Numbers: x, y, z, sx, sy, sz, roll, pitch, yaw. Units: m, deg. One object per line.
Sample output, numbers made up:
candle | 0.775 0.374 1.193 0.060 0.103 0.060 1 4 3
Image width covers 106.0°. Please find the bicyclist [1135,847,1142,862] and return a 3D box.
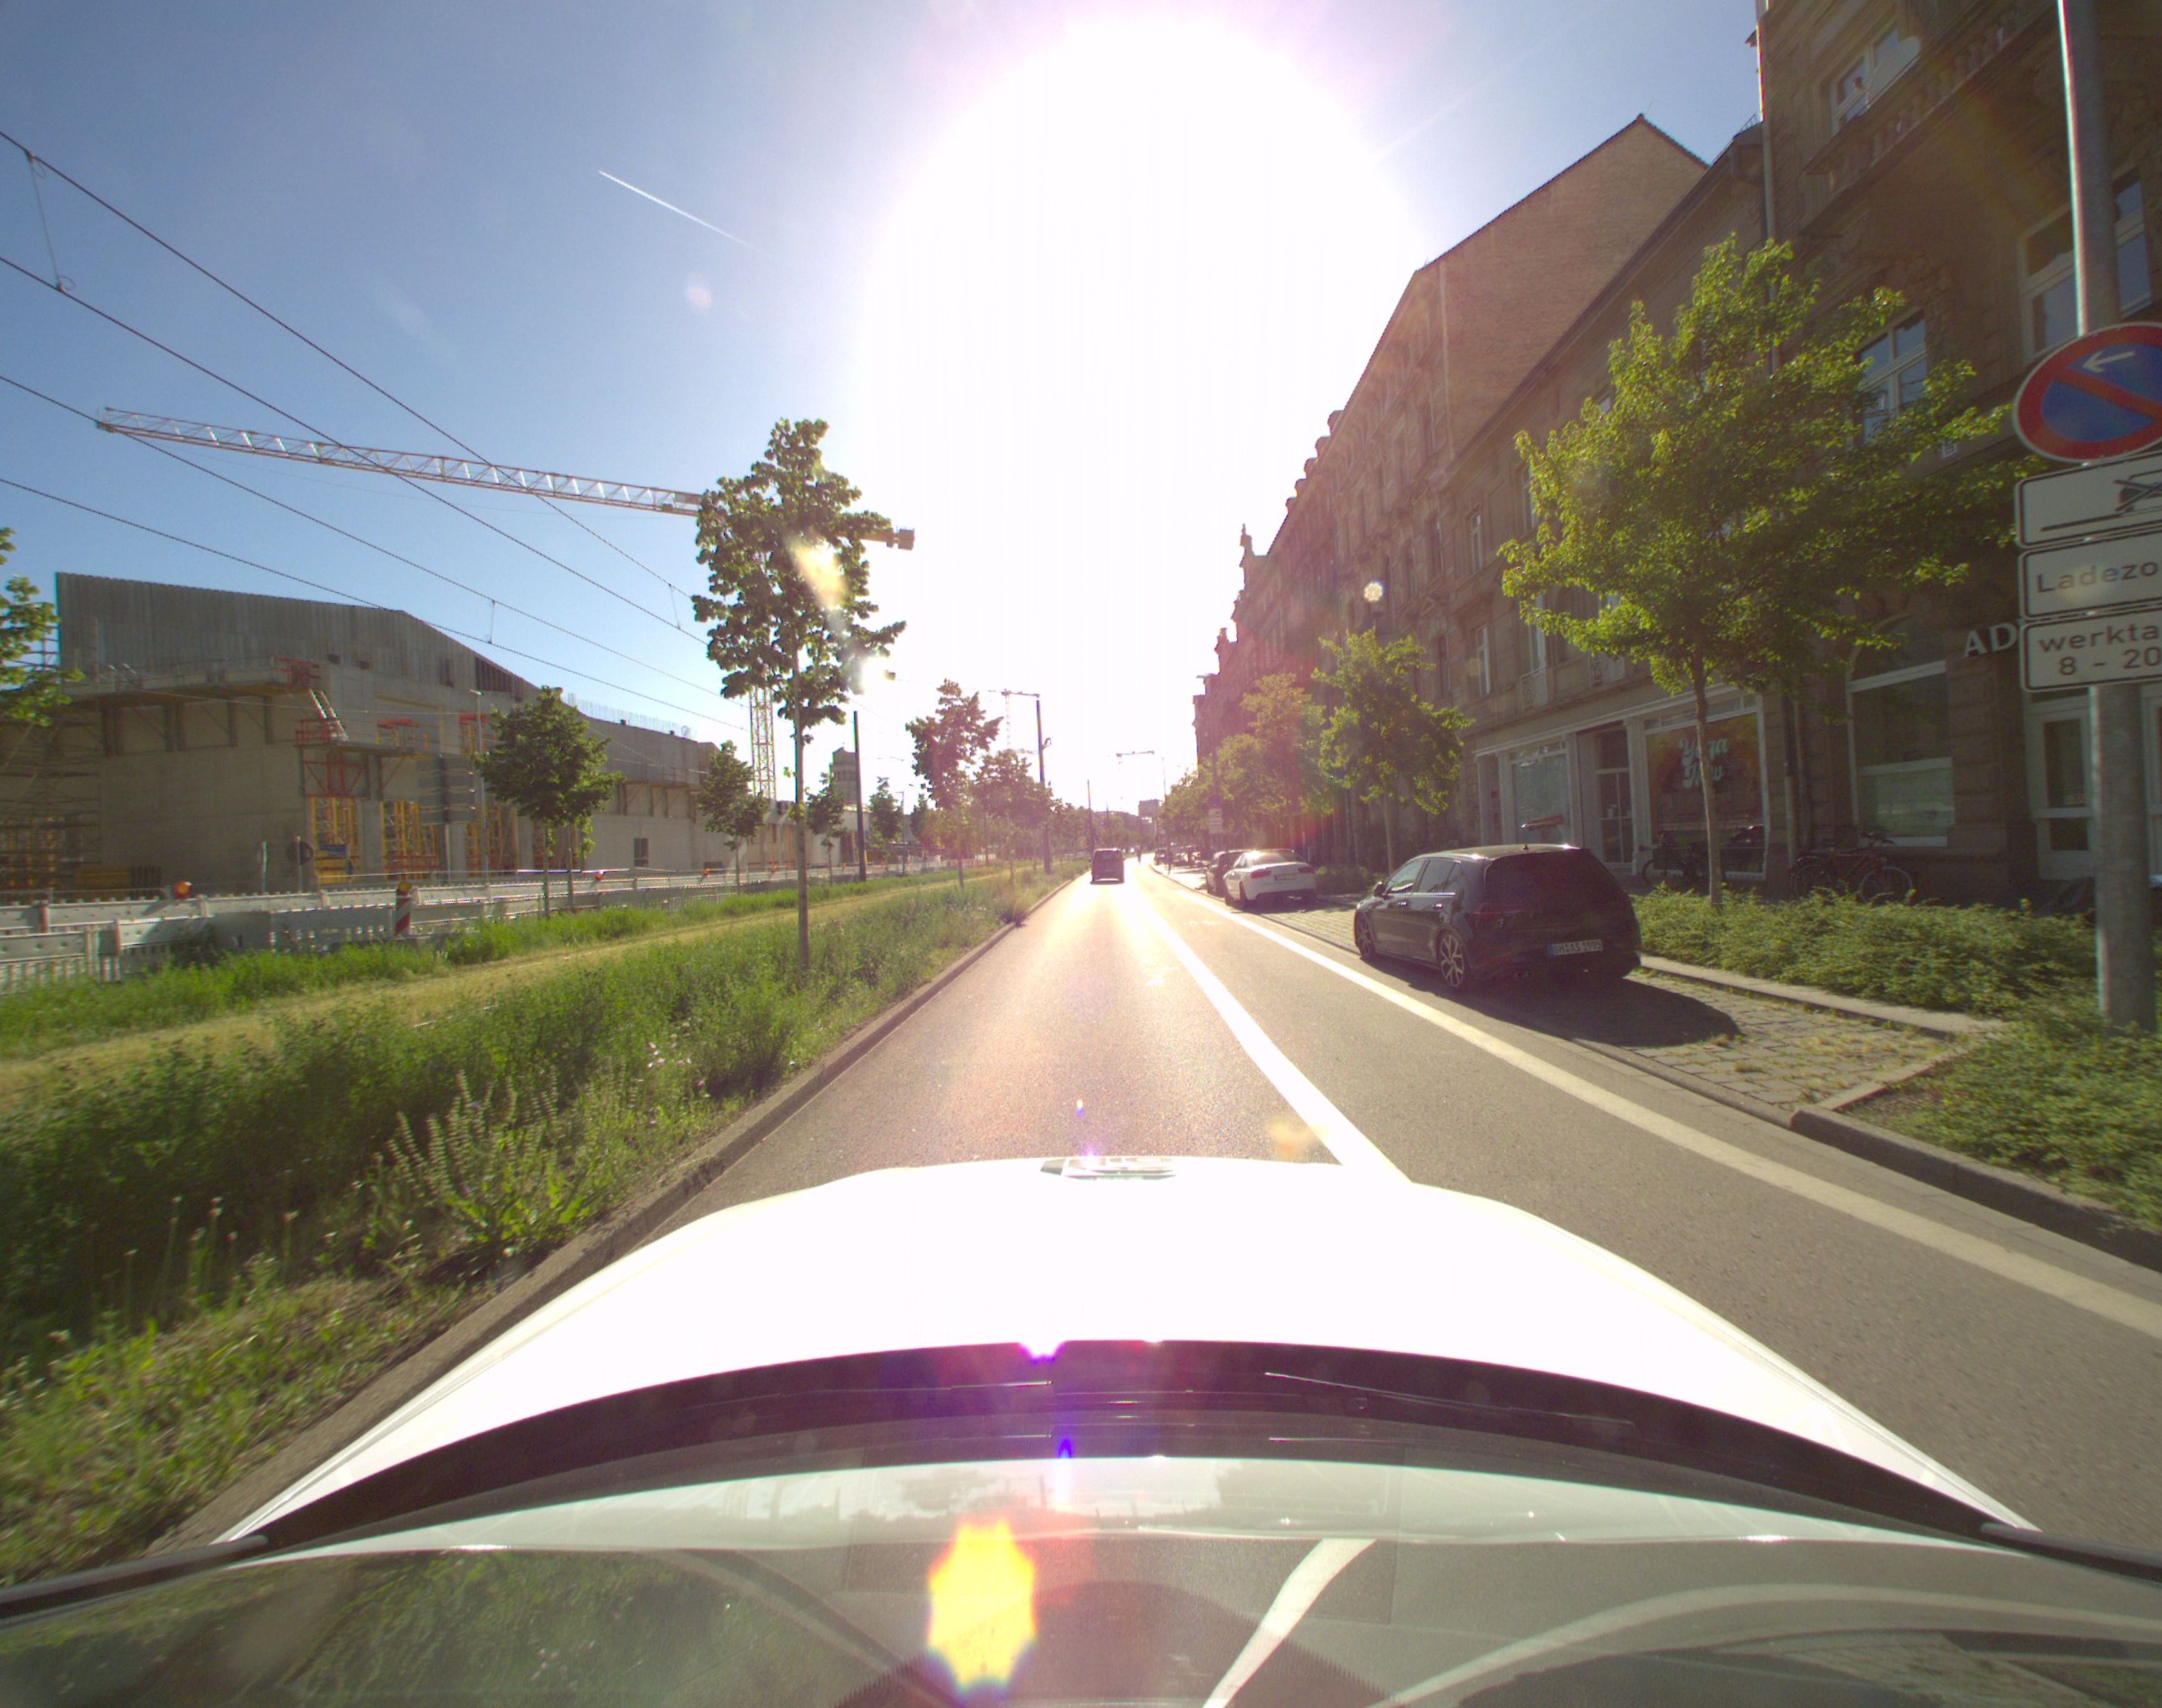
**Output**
bicyclist | 6.572 0.045 92.869 0.680 1.584 0.840 -3 0 1

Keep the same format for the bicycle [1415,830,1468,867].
bicycle | 11.547 -0.175 26.136 0.718 1.090 2.200 -4 0 2

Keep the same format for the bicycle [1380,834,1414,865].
bicycle | 11.808 -0.153 30.461 0.479 1.090 2.058 -4 0 2

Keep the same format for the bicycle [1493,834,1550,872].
bicycle | 11.639 -0.039 21.595 0.445 0.945 2.013 -3 0 2

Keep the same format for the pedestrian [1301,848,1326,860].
pedestrian | 12.258 0.013 42.941 0.770 0.553 2.008 -4 1 2

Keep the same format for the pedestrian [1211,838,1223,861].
pedestrian | 12.275 -0.415 73.543 0.814 2.014 1.046 -2 -2 2

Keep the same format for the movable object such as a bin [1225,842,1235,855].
movable object such as a bin | 13.061 -0.520 71.468 0.723 1.097 0.747 -3 0 -3

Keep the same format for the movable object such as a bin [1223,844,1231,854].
movable object such as a bin | 13.351 -0.448 74.593 0.603 0.916 0.650 -3 0 -3

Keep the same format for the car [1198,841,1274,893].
car | 5.460 0.444 29.214 1.877 1.569 4.222 -5 0 1

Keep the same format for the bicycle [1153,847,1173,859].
bicycle | 8.191 -0.091 81.356 1.821 1.078 0.664 -6 0 -5

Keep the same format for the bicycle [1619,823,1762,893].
bicycle | 11.129 0.067 14.986 0.873 1.104 2.181 -6 0 -1

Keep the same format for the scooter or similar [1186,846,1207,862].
scooter or similar | 9.375 0.002 66.192 1.470 1.216 0.601 -5 1 -2

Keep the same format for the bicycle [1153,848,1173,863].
bicycle | 8.031 0.140 79.823 1.875 1.233 0.499 -6 0 -4

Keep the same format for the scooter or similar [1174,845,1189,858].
scooter or similar | 9.488 -0.218 76.936 1.214 1.106 0.784 -5 1 4

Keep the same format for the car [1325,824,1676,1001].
car | 4.561 0.558 9.777 1.761 1.476 4.447 -6 0 -1

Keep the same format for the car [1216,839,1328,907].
car | 5.098 0.461 22.482 1.944 1.495 5.107 -5 0 2

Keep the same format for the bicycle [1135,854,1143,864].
bicycle | 6.591 0.566 92.842 0.698 1.091 2.278 -3 0 2

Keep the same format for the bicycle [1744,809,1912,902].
bicycle | 10.846 0.020 11.924 0.745 1.201 1.801 -4 0 2

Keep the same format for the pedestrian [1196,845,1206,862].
pedestrian | 12.686 -0.089 86.202 0.841 1.742 0.887 -4 -1 2

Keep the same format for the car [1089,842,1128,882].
car | 1.492 0.415 44.555 1.986 2.013 4.001 -2 0 2

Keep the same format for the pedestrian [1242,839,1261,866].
pedestrian | 11.202 -0.118 53.542 0.992 1.731 0.866 -2 -1 1

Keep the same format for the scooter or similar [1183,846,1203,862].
scooter or similar | 9.213 0.010 66.962 1.473 1.216 0.600 -6 1 -9
